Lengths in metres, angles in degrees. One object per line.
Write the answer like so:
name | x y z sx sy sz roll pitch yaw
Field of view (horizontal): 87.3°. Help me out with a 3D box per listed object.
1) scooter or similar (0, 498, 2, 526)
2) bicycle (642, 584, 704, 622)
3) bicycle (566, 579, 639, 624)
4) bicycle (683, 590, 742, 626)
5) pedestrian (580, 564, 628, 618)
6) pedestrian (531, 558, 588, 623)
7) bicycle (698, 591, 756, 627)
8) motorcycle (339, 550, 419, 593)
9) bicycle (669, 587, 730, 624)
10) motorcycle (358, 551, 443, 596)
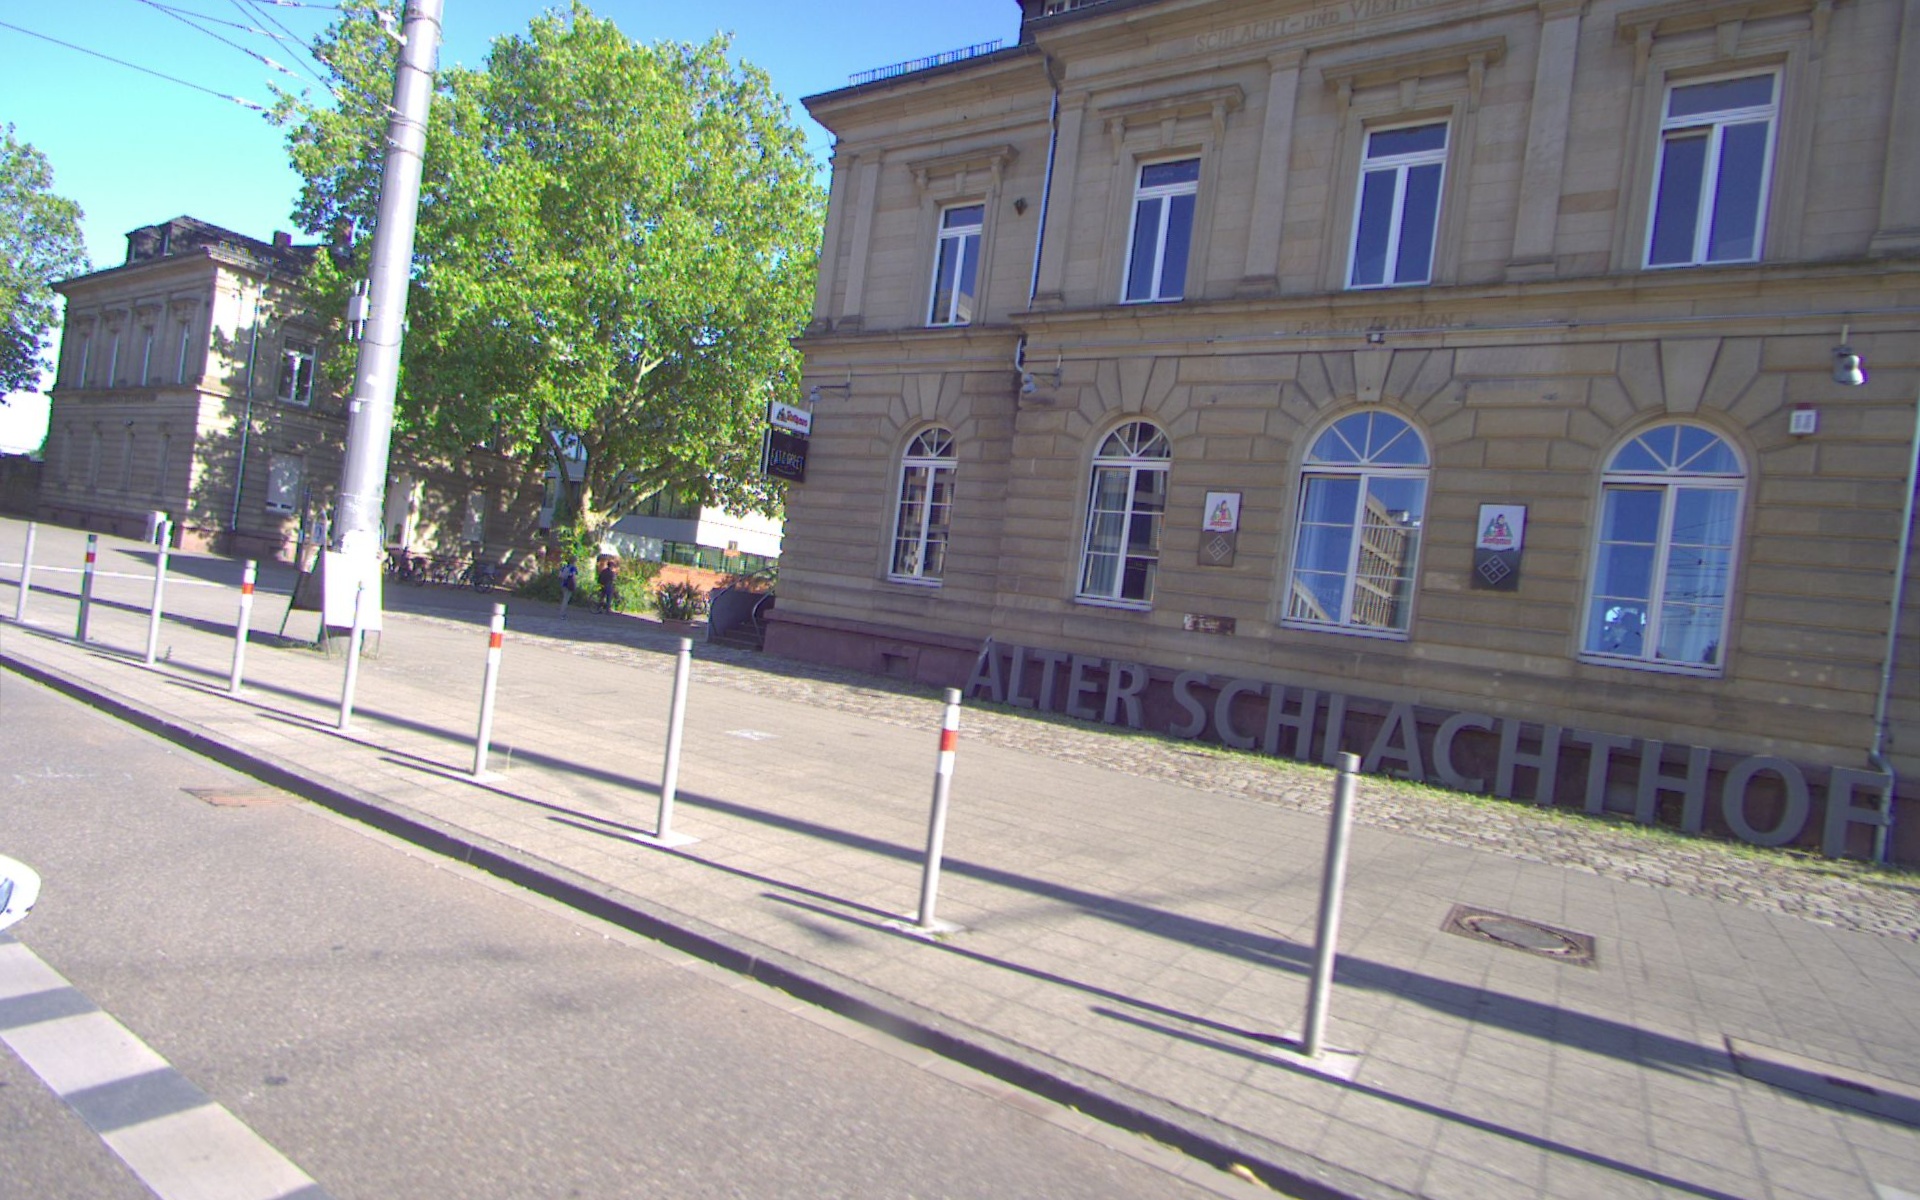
scooter or similar | -27.901 -2.387 28.594 0.746 1.170 0.719 7 1 27
bicycle | -12.193 0.105 42.771 2.623 1.293 0.781 6 -1 29
bicycle | -12.570 0.091 35.500 0.768 1.293 2.671 7 -2 21
bicycle | -11.061 0.340 44.908 2.623 1.293 0.781 6 -1 29
pedestrian | -12.461 -0.302 35.246 1.018 1.767 0.998 7 1 22
pedestrian | -11.940 -0.276 29.996 1.018 1.811 0.998 7 1 22
bicycle | -10.588 0.398 45.665 2.623 1.293 0.781 6 -1 29
motorcycle | -19.446 -0.958 33.705 0.874 1.115 2.076 6 -2 40
bicycle | -11.398 0.230 44.002 2.623 1.293 0.781 6 -1 29
motorcycle | -18.560 -0.859 33.404 0.874 1.173 2.218 6 -2 40
